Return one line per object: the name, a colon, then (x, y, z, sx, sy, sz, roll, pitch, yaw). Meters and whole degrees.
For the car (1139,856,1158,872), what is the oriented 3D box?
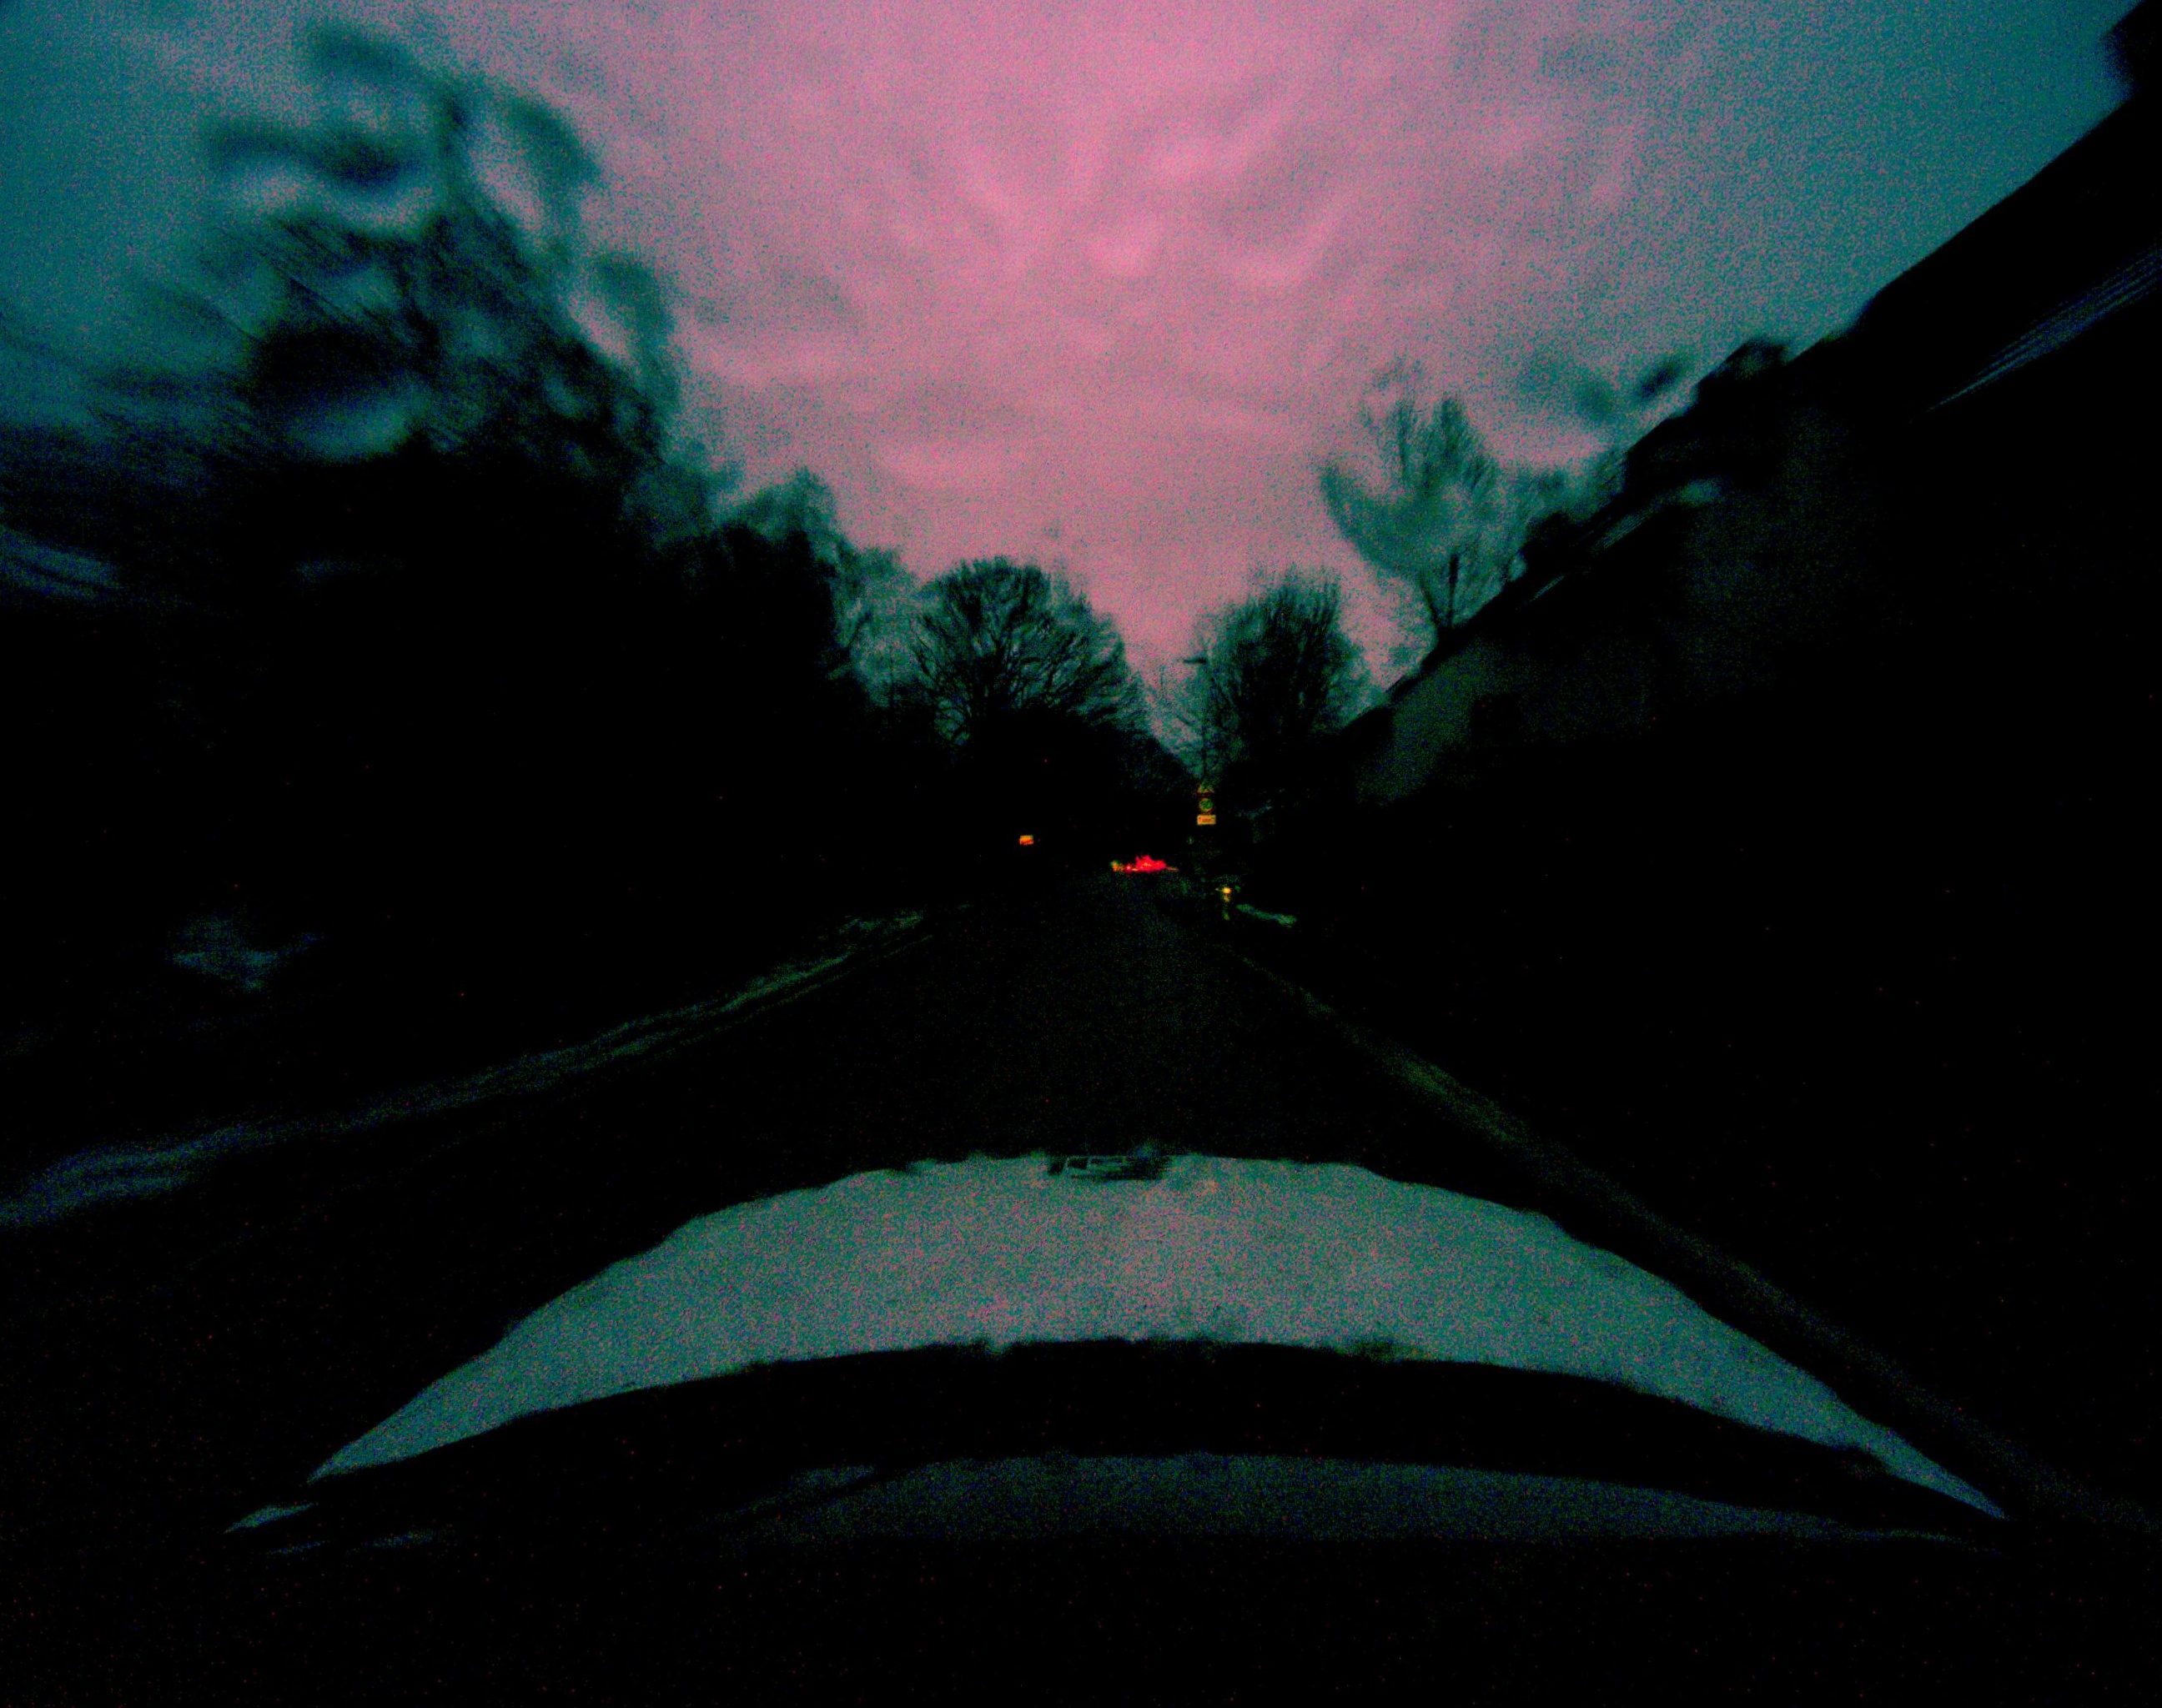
car: (7.520, 1.123, 90.799, 1.925, 1.676, 4.002, -2, 0, 2)

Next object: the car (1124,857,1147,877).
car: (5.297, 1.230, 78.508, 1.922, 1.781, 4.009, -2, 0, 8)

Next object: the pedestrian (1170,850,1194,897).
pedestrian: (3.714, 0.700, 29.916, 0.741, 1.655, 0.970, -2, 0, 1)
